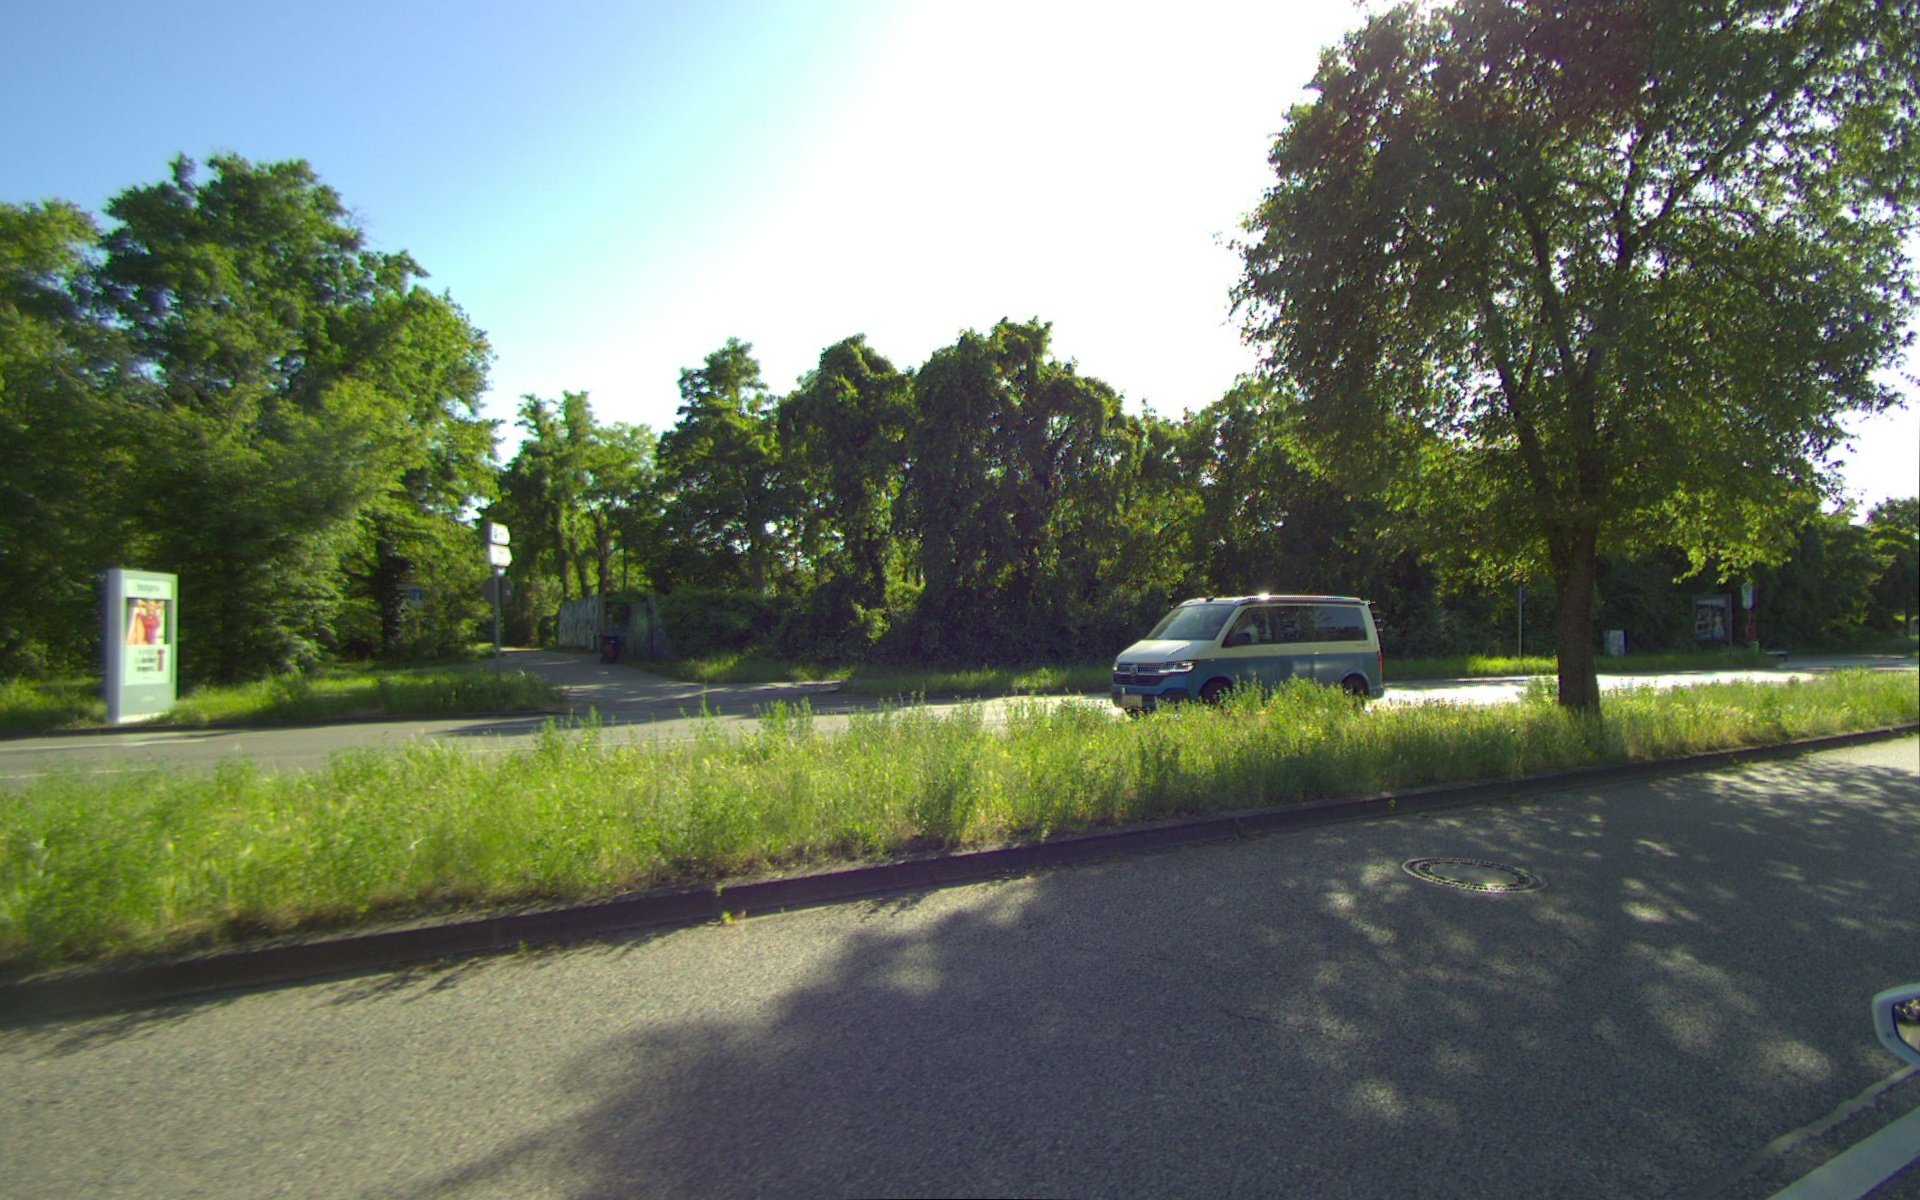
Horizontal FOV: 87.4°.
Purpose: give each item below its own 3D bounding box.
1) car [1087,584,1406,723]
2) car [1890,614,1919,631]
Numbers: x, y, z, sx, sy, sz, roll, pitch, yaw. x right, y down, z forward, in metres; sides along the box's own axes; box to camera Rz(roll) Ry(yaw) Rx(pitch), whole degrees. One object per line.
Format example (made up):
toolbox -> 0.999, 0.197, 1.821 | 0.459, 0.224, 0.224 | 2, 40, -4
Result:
car -> 4.710, 0.832, 16.280 | 5.184, 1.954, 1.984 | 1, -2, -31
car -> 116.150, 2.680, 121.716 | 1.974, 2.040, 4.768 | 1, -1, -27
